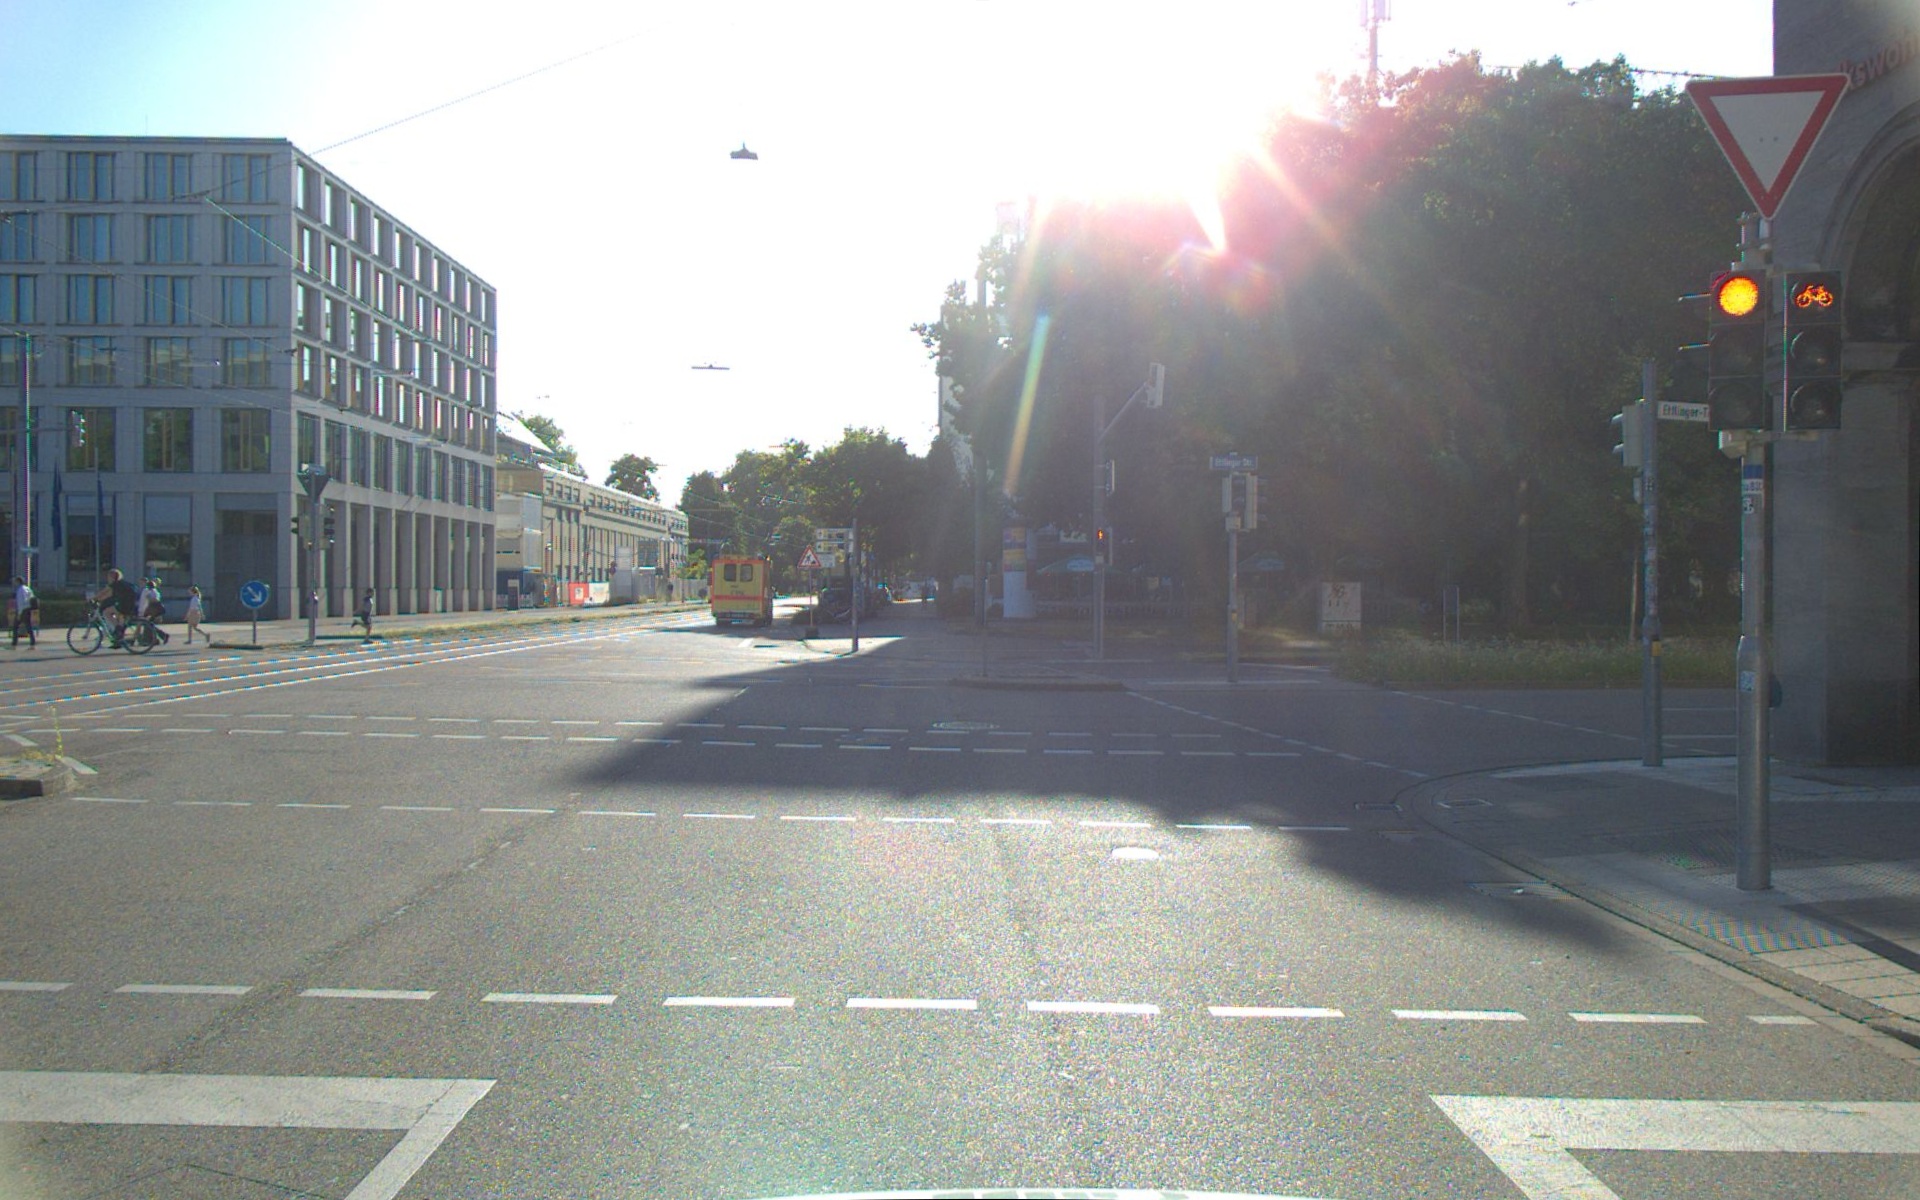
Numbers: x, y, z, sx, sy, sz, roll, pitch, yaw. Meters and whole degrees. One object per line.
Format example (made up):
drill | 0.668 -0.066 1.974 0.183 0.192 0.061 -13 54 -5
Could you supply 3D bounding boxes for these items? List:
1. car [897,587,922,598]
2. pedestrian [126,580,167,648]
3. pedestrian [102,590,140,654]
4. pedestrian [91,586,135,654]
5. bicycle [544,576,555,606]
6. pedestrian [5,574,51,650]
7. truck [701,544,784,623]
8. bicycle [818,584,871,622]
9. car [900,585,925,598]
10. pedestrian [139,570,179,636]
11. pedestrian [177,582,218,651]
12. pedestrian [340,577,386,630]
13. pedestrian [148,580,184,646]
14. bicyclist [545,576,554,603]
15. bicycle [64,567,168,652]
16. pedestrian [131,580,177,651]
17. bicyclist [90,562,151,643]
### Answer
car | -6.440 -0.938 211.033 3.153 1.285 1.372 1 0 -2
pedestrian | -21.873 0.374 44.496 0.723 1.835 0.716 0 0 4
pedestrian | -22.206 0.573 43.783 0.680 1.673 0.621 0 0 0
pedestrian | -21.180 0.500 41.360 0.777 1.673 0.620 0 0 -5
bicycle | -32.172 -0.712 129.699 0.559 2.336 1.422 0 0 -2
pedestrian | -23.978 0.301 42.556 0.785 1.951 0.637 0 0 4
truck | -8.748 -0.638 67.256 2.661 3.068 6.487 0 0 -1
bicycle | -5.664 0.147 81.280 2.495 1.774 1.037 1 0 -1
car | -6.172 -1.136 213.348 3.152 1.616 1.445 1 0 -5
pedestrian | -21.900 0.077 45.240 0.732 1.792 0.678 -1 -1 4
pedestrian | -20.532 0.433 44.539 0.851 1.835 0.532 0 0 4
pedestrian | -15.250 0.079 42.247 0.975 1.340 0.765 0 0 -10
pedestrian | -22.023 0.362 45.862 0.723 1.835 0.532 0 -1 4
bicyclist | -32.173 -0.830 129.650 0.559 2.059 0.761 0 0 -2
bicycle | -17.684 0.191 34.690 1.868 1.765 0.594 0 0 -19
pedestrian | -21.075 0.409 43.237 0.852 1.835 0.664 0 0 4
bicyclist | -17.611 0.044 34.711 1.058 1.669 0.594 0 0 -19
